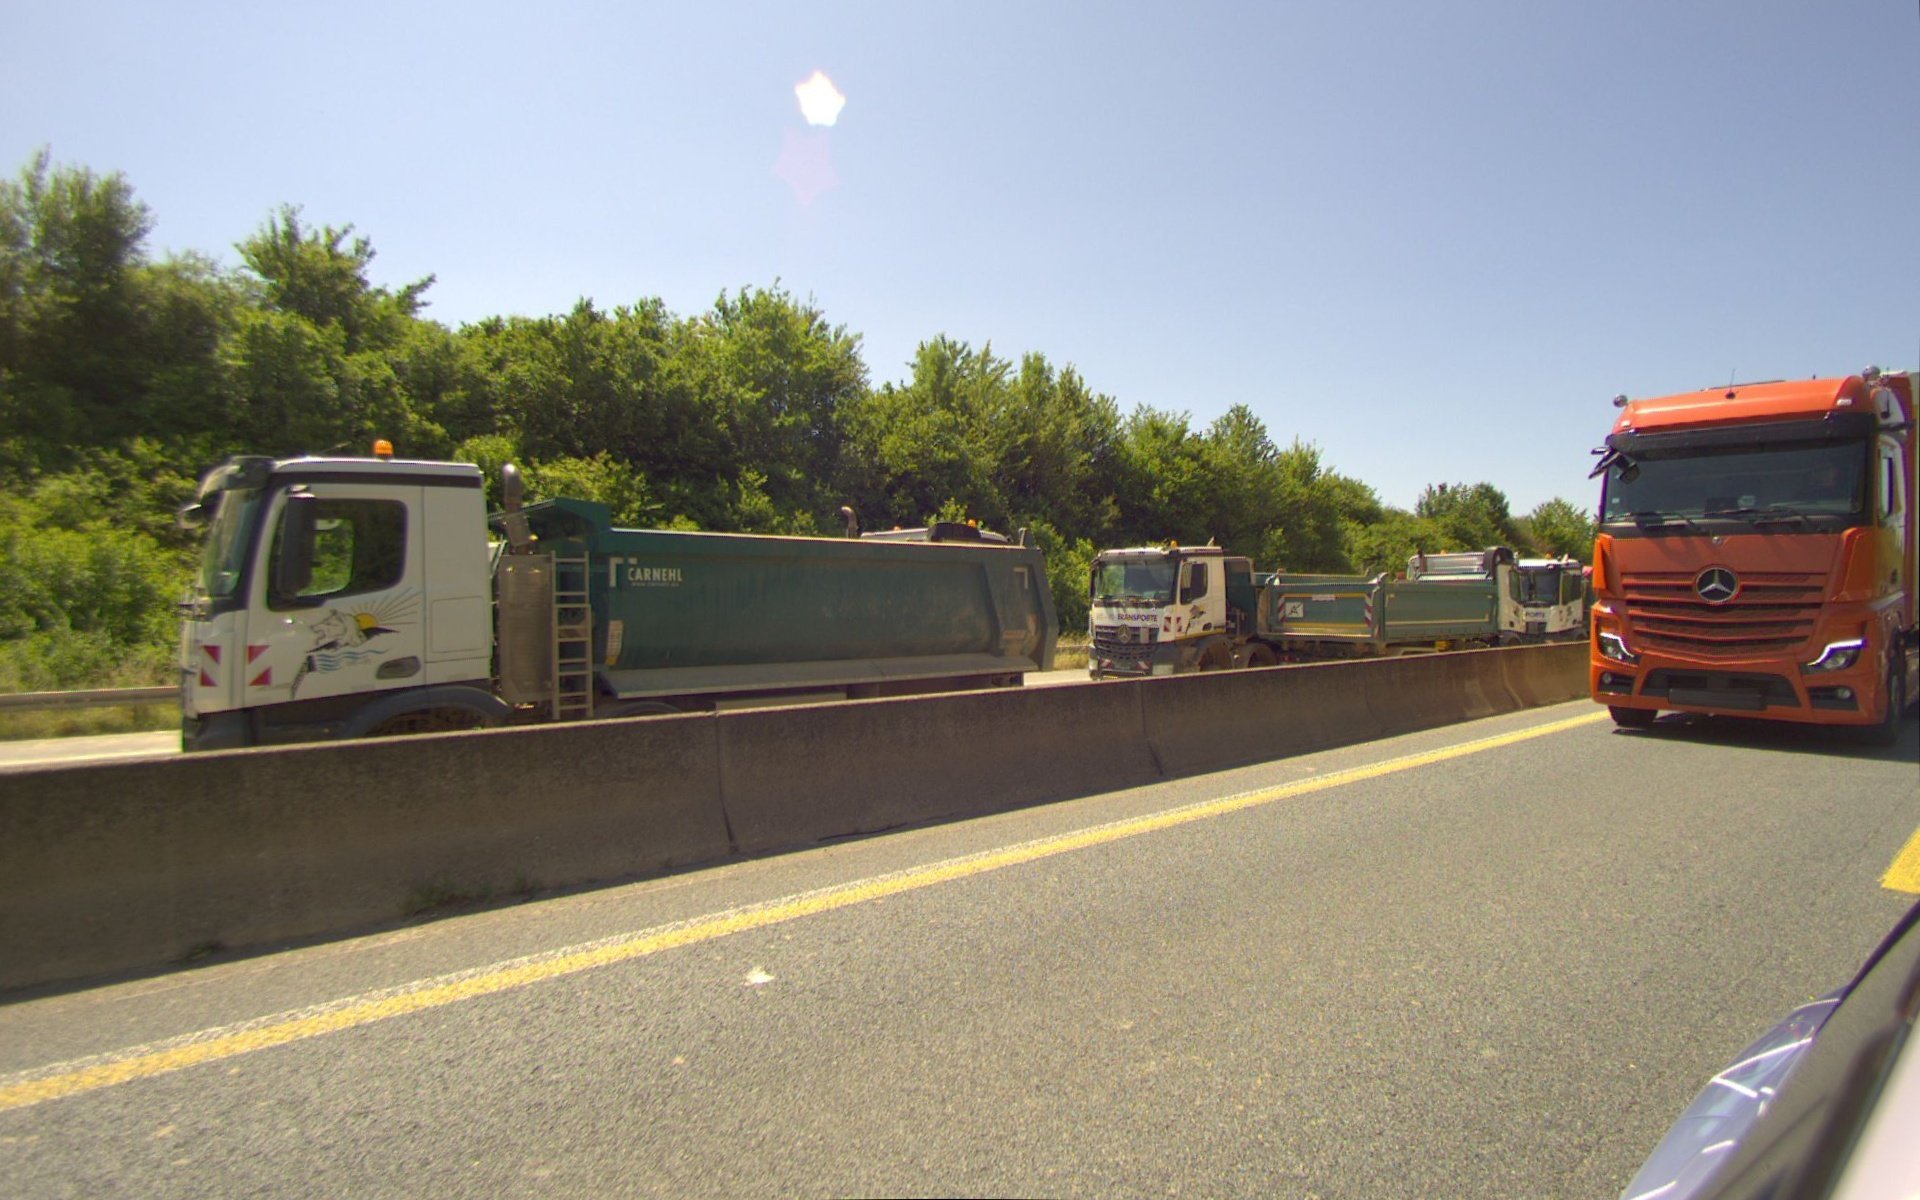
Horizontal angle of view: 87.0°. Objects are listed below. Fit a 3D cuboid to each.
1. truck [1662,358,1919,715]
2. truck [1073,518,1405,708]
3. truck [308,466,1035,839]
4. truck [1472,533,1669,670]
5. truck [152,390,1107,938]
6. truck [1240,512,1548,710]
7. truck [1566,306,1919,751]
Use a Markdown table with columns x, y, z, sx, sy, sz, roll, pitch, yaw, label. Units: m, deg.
| x | y | z | sx | sy | sz | roll | pitch | yaw | label |
| --- | --- | --- | --- | --- | --- | --- | --- | --- | --- |
| 15.134 | -0.794 | 16.632 | 12.987 | 4.061 | 2.687 | -1 | 0 | -41 | truck |
| 6.780 | 0.220 | 23.371 | 9.436 | 3.602 | 2.691 | 0 | 0 | -41 | truck |
| -3.208 | 0.483 | 13.941 | 9.436 | 3.602 | 2.691 | 0 | 0 | -42 | truck |
| 18.396 | 0.018 | 30.177 | 8.789 | 3.555 | 2.537 | 0 | 0 | -42 | truck |
| -2.535 | 0.396 | 10.805 | 9.436 | 3.602 | 2.691 | 0 | 0 | -41 | truck |
| 9.970 | 0.174 | 22.474 | 9.436 | 3.602 | 2.542 | 0 | 0 | -42 | truck |
| 10.167 | -0.695 | 12.405 | 6.606 | 4.061 | 2.687 | -1 | 0 | -40 | truck |
